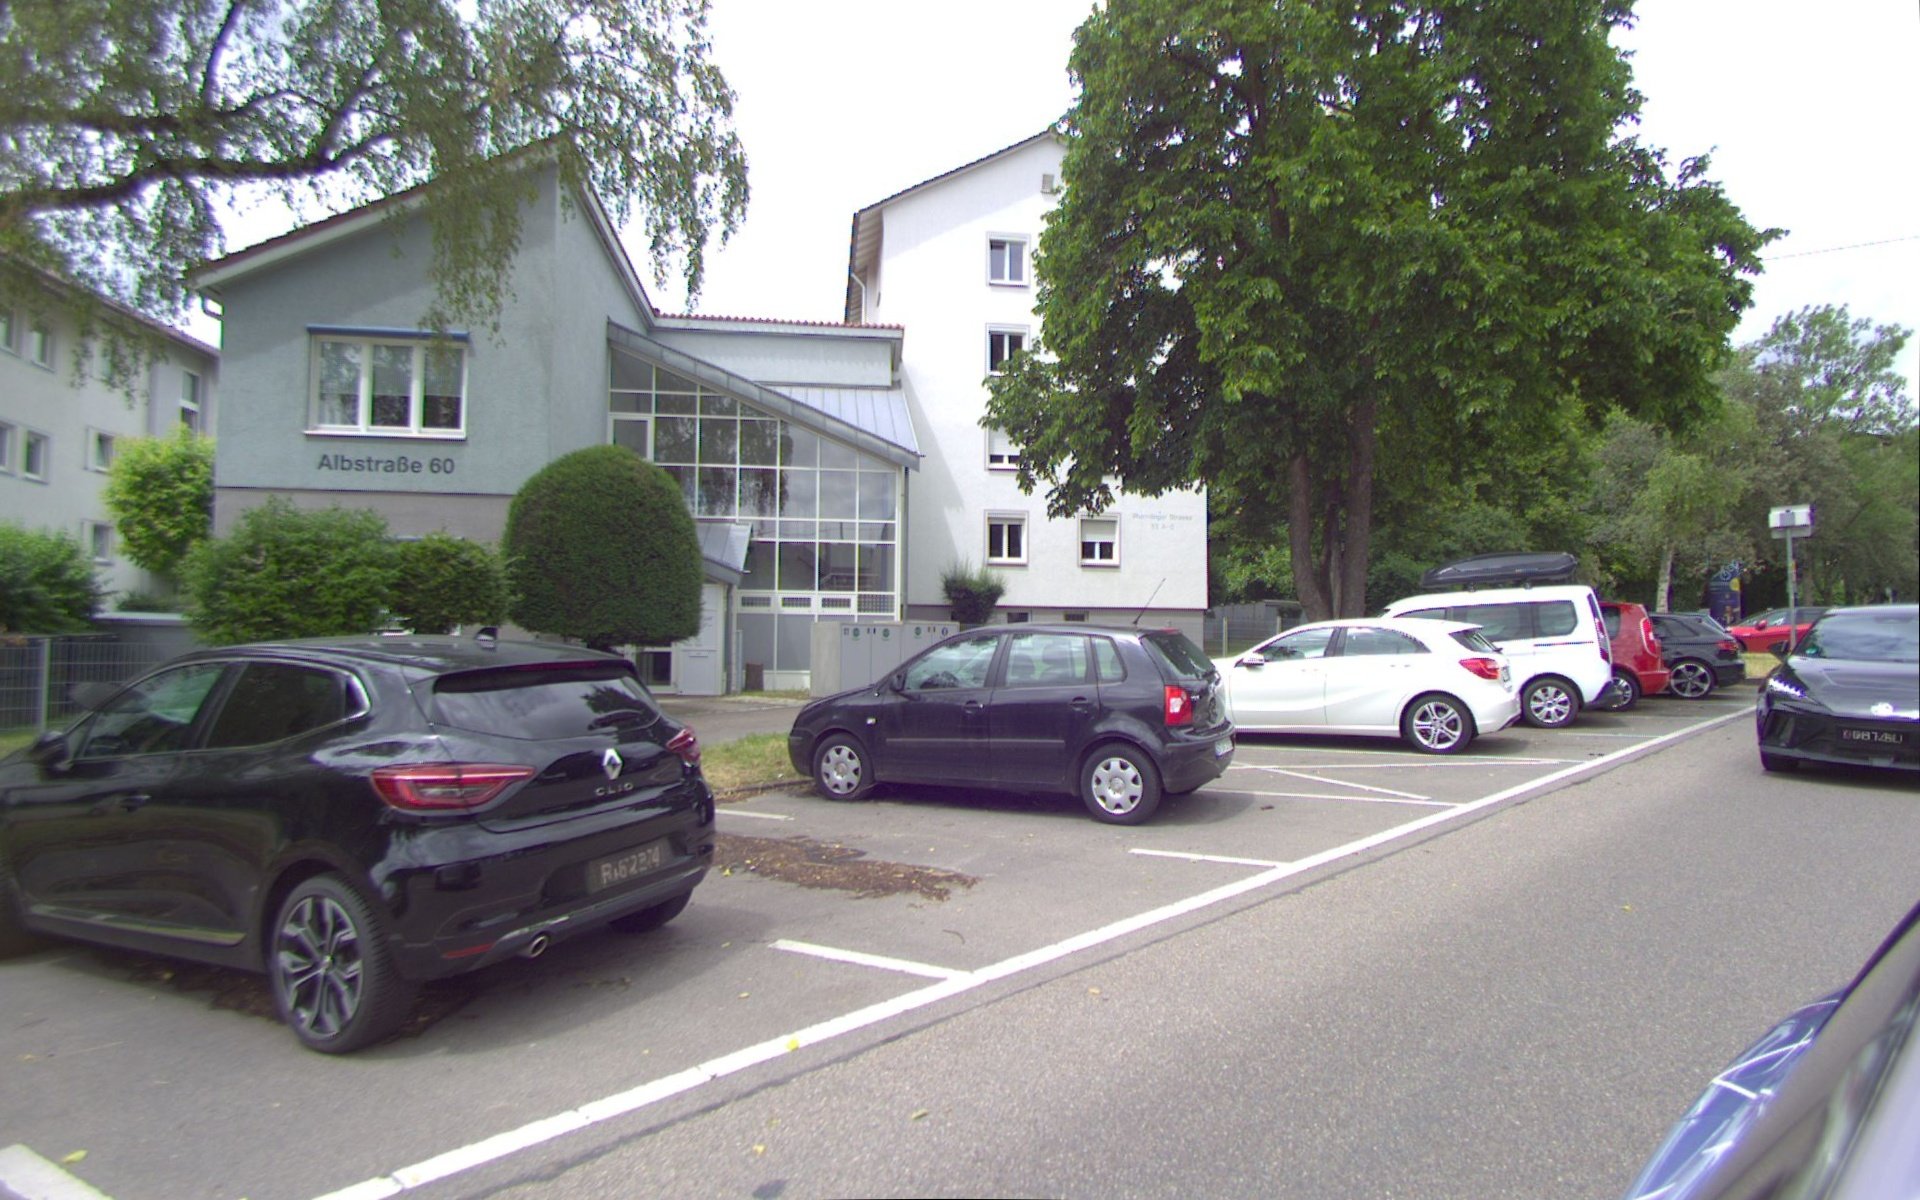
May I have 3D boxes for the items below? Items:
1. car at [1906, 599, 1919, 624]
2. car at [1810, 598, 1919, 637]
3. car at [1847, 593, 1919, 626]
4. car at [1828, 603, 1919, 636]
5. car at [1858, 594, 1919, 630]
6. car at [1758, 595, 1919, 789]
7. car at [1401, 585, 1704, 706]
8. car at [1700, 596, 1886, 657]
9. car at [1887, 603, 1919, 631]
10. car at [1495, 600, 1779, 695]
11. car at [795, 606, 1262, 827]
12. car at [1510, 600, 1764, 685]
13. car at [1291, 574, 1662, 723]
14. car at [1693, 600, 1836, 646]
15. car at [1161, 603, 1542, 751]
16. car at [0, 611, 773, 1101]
[{"bbox_3d":[57.082,0.628,58.135,3.841,1.404,1.630,-3,-2,42],"label":"car"},{"bbox_3d":[38.800,0.758,43.167,3.841,1.582,1.630,-3,-2,42],"label":"car"},{"bbox_3d":[42.875,0.401,45.966,3.841,1.404,1.630,-3,-2,42],"label":"car"},{"bbox_3d":[41.010,0.862,44.827,3.841,1.404,1.630,-3,-2,42],"label":"car"},{"bbox_3d":[45.294,0.538,48.088,3.841,1.664,1.630,-3,-2,42],"label":"car"},{"bbox_3d":[8.903,0.723,9.343,3.728,1.511,1.811,-1,0,-42],"label":"car"},{"bbox_3d":[9.135,0.693,15.764,3.832,1.664,1.829,-3,-2,35],"label":"car"},{"bbox_3d":[23.835,0.783,29.145,3.823,1.633,1.638,-2,-2,30],"label":"car"},{"bbox_3d":[51.439,0.853,53.224,3.841,1.404,1.630,-3,-2,42],"label":"car"},{"bbox_3d":[11.437,0.801,17.333,3.832,1.453,1.634,-3,-2,35],"label":"car"},{"bbox_3d":[0.543,0.851,8.428,3.482,1.483,1.698,-2,-2,29],"label":"car"},{"bbox_3d":[12.782,0.804,19.314,3.832,1.453,1.634,-3,-2,35],"label":"car"},{"bbox_3d":[6.844,0.653,13.841,4.176,1.781,1.843,-2,-2,25],"label":"car"},{"bbox_3d":[29.352,0.853,37.075,3.823,1.578,1.638,-2,-2,30],"label":"car"},{"bbox_3d":[4.481,0.829,11.800,3.832,1.457,1.694,-3,-2,35],"label":"car"},{"bbox_3d":[-2.967,0.873,4.726,3.814,1.452,1.702,-2,1,25],"label":"car"}]
